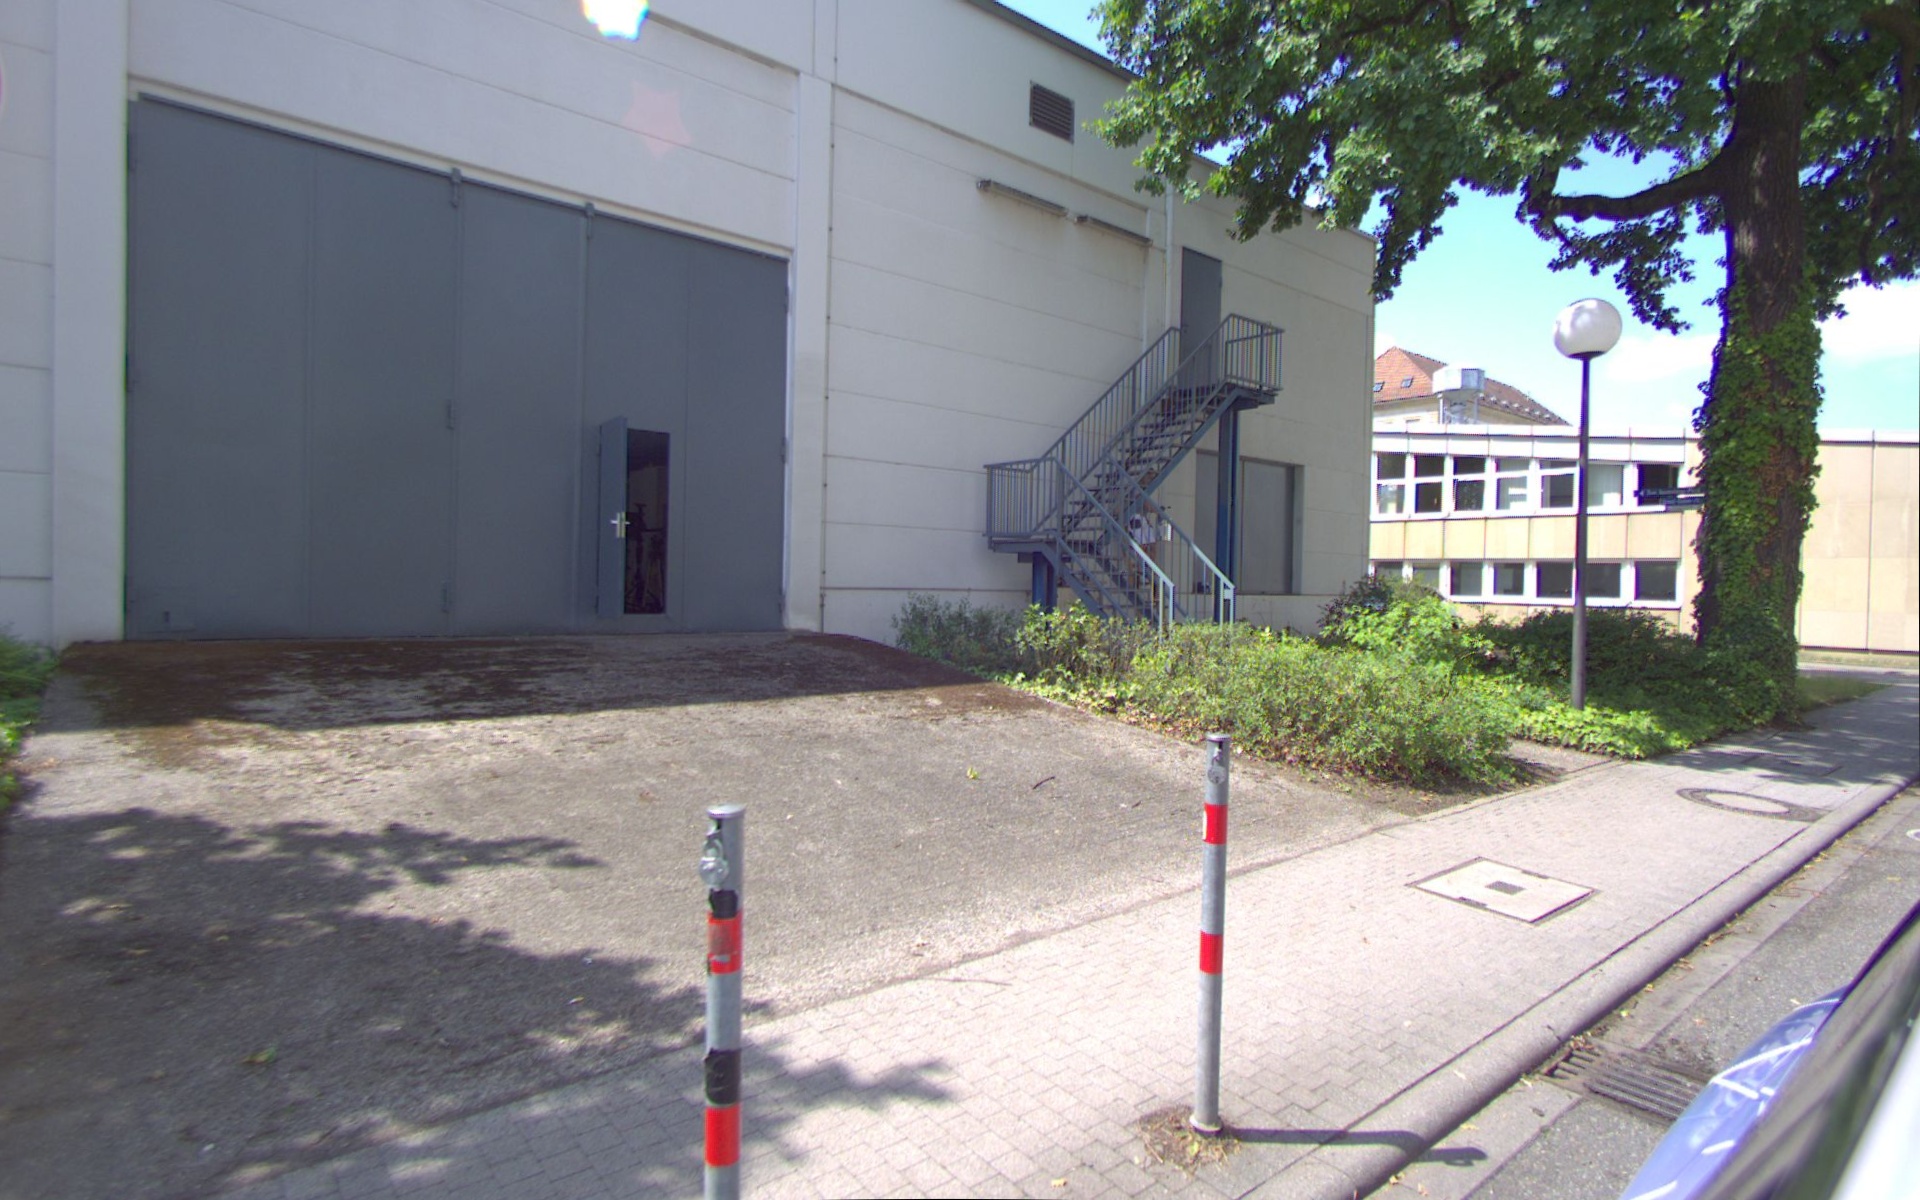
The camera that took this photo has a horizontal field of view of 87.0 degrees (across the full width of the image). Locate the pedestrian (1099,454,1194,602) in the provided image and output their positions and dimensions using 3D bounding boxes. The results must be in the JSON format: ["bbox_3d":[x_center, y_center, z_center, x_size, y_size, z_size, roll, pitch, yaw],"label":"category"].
[{"bbox_3d":[2.674,-1.004,14.548,0.932,2.039,0.930,0,1,-36],"label":"pedestrian"}]

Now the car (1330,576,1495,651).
[{"bbox_3d":[10.018,0.247,22.278,4.107,1.495,1.671,0,1,-40],"label":"car"}]
